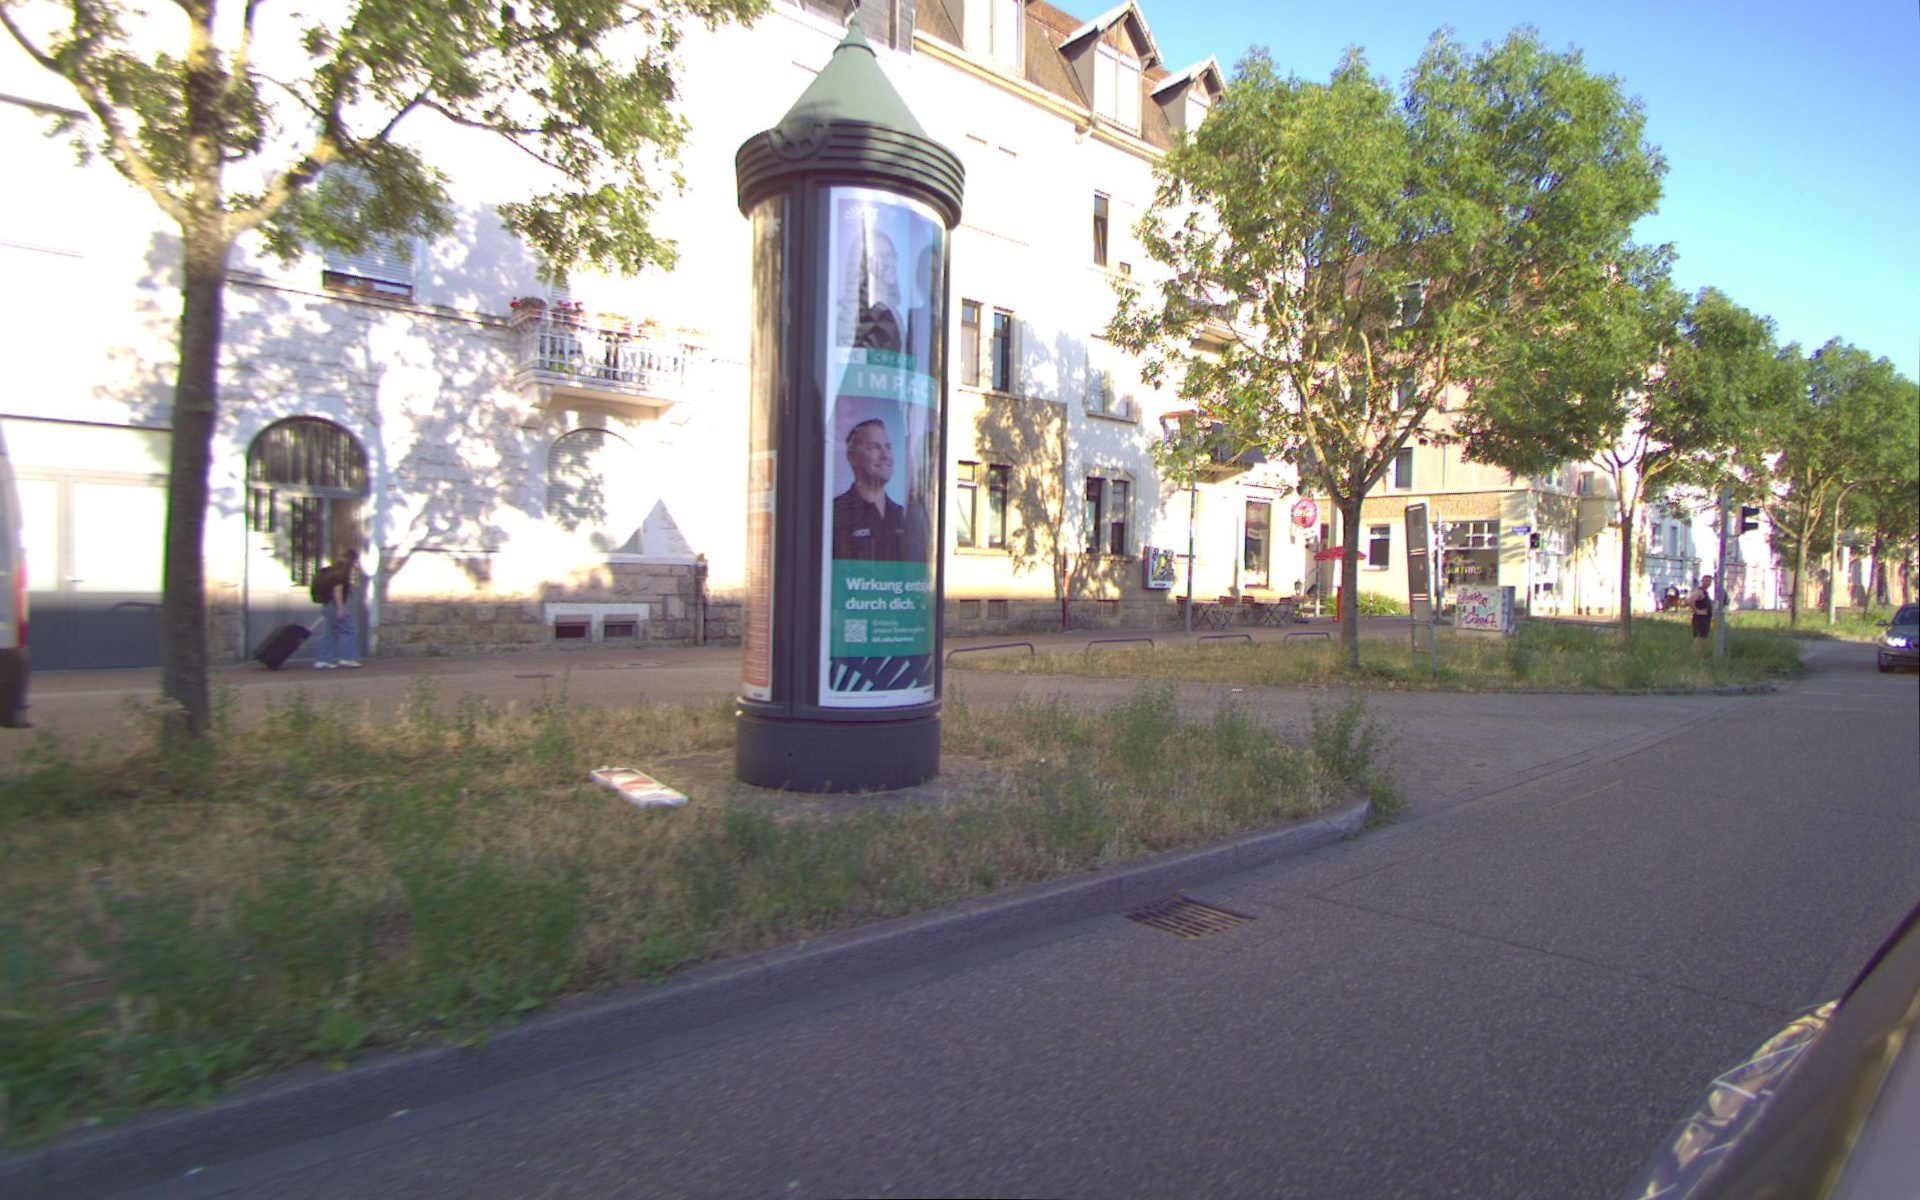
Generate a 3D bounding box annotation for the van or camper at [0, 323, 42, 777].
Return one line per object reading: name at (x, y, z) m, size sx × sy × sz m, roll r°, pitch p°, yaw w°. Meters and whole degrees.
van or camper at (-6.757, -0.255, 3.745) m, size 2.159 × 2.847 × 5.660 m, roll 1°, pitch 1°, yaw -8°

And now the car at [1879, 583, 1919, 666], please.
car at (21.096, 0.481, 21.348) m, size 3.929 × 1.686 × 1.997 m, roll 0°, pitch 0°, yaw -40°

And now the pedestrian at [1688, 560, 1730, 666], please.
pedestrian at (14.612, 0.244, 19.746) m, size 0.588 × 2.039 × 0.513 m, roll 0°, pitch 1°, yaw -39°

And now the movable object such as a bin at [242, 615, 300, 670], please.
movable object such as a bin at (-8.797, 0.535, 12.924) m, size 0.595 × 0.662 × 0.214 m, roll 0°, pitch 1°, yaw -41°

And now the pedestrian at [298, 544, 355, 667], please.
pedestrian at (-8.278, 0.062, 13.220) m, size 0.571 × 1.559 × 0.508 m, roll 0°, pitch 1°, yaw -41°
